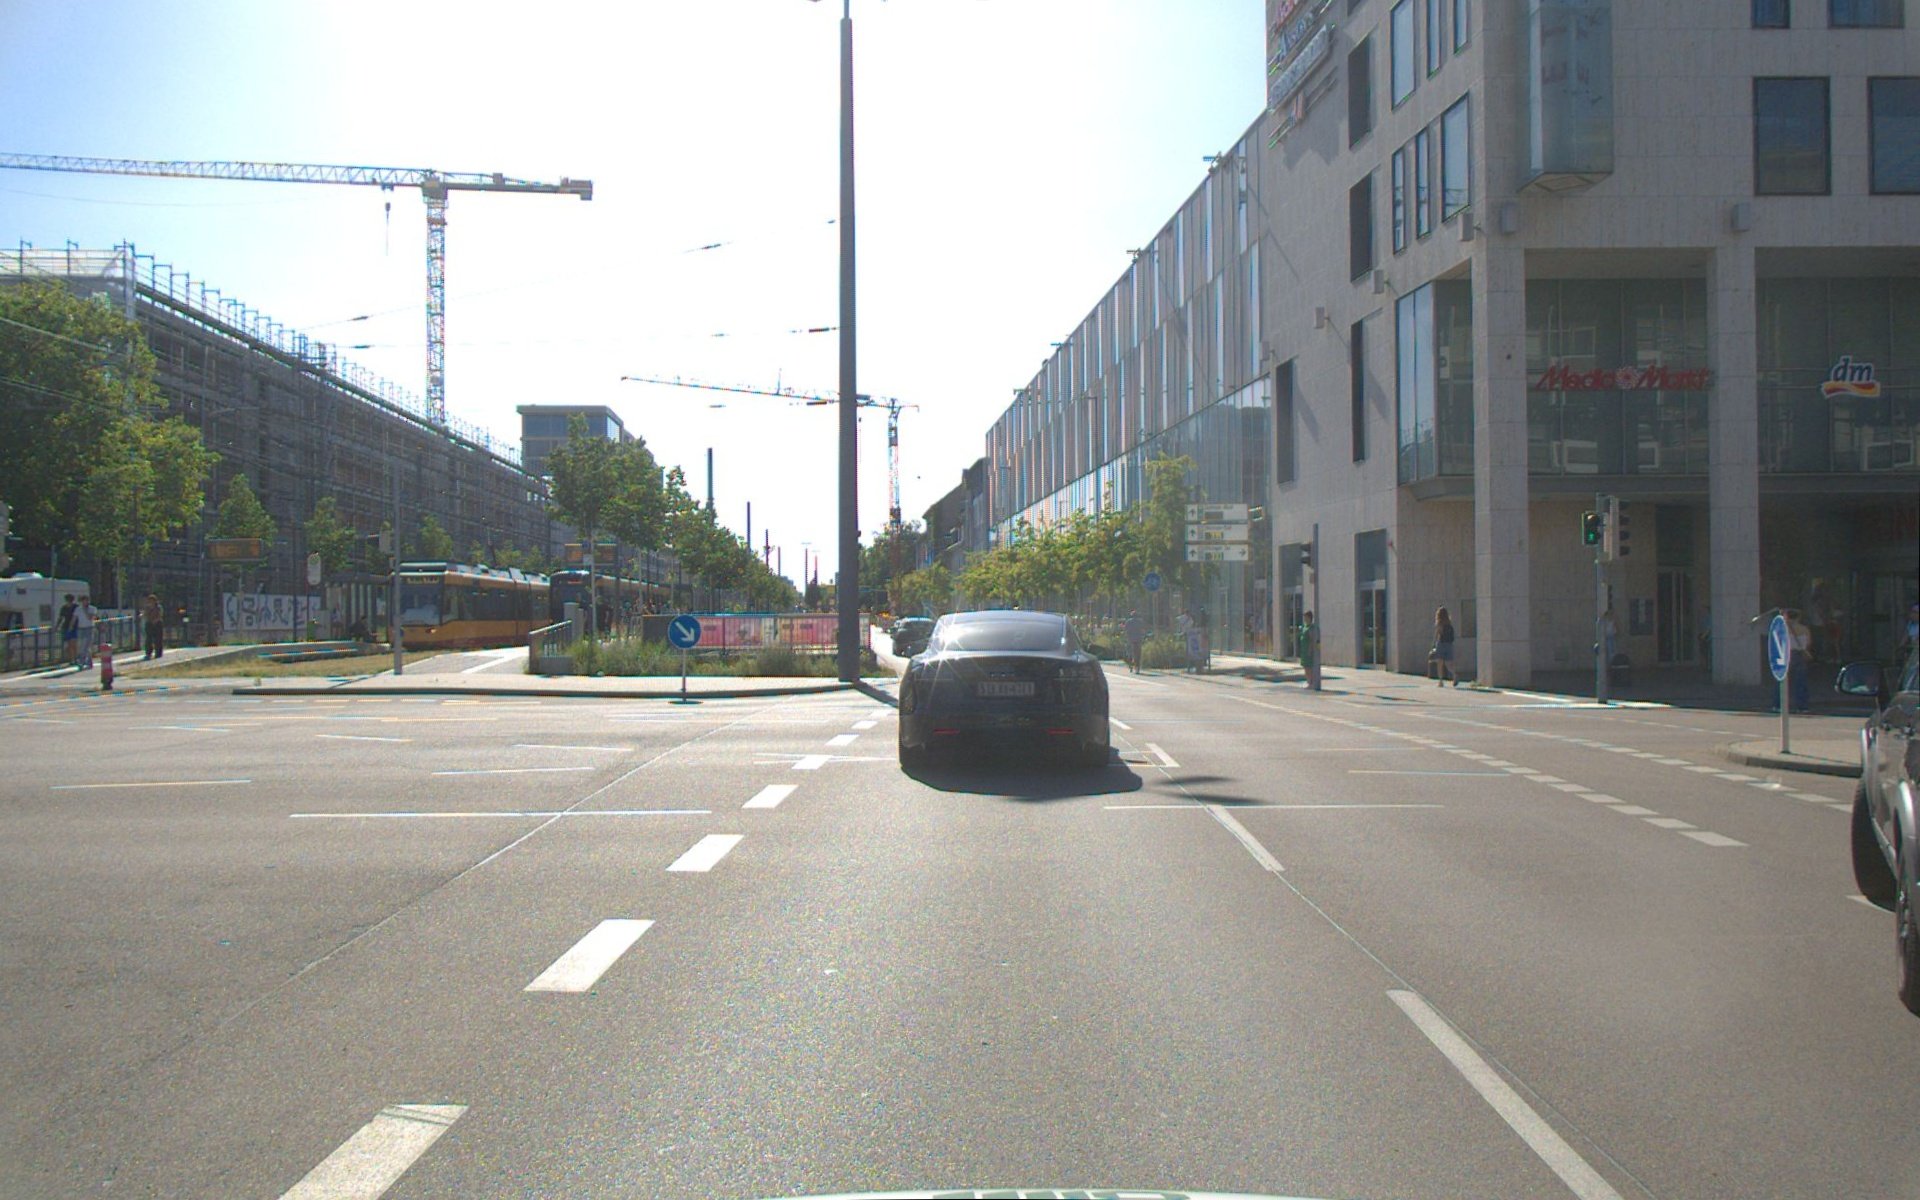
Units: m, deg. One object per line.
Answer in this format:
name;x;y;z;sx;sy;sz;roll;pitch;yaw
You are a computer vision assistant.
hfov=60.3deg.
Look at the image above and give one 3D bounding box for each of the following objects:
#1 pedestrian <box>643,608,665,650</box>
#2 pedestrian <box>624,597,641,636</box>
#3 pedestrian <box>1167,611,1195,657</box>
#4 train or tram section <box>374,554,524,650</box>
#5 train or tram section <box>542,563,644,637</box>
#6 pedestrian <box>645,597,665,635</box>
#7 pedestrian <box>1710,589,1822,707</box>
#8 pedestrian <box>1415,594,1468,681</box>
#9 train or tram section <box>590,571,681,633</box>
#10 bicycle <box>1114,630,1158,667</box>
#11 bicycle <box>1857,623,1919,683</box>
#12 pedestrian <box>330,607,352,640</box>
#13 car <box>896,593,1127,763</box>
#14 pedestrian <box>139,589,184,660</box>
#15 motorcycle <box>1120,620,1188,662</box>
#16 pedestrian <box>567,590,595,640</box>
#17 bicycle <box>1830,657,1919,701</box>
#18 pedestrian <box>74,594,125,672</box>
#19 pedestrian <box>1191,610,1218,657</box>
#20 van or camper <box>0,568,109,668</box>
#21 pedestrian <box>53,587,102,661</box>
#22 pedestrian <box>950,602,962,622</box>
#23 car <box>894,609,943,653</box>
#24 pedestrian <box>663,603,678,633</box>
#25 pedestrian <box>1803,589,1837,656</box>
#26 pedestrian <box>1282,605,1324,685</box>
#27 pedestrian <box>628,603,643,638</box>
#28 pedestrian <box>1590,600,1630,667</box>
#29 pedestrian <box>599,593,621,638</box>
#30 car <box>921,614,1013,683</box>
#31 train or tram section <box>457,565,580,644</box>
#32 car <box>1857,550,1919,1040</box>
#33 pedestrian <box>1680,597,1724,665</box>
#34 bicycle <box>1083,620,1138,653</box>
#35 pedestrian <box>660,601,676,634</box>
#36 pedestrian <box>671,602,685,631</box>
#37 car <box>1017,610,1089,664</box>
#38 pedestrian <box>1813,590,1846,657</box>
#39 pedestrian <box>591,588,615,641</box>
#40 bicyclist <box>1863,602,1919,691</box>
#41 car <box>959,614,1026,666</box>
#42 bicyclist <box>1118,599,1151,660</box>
pedestrian;-12.288;1.172;66.424;0.727;1.657;0.861;0;-1;-4
pedestrian;-15.829;0.785;79.930;0.658;1.842;1.073;-1;-1;-5
pedestrian;8.112;1.244;60.711;0.805;1.687;0.898;0;-1;-9
train or tram section;-20.027;0.134;65.807;2.814;3.368;13.060;1;-1;-4
train or tram section;-18.298;0.044;83.446;2.814;3.337;15.170;1;-1;-4
pedestrian;-15.220;0.782;82.662;0.869;1.883;1.006;0;-1;-5
pedestrian;13.207;0.771;27.140;0.948;1.833;1.521;-2;0;-4
pedestrian;10.430;0.804;35.861;0.713;1.833;1.065;-2;-1;-4
train or tram section;-19.702;0.206;102.029;2.814;3.337;22.121;1;-1;-4
bicycle;5.111;1.398;48.216;0.715;1.001;2.329;2;-1;-8
bicycle;18.722;1.015;31.968;1.044;1.113;2.990;0;0;-2
pedestrian;-23.927;0.910;63.974;0.658;1.248;0.505;1;-1;-7
car;0.362;0.695;16.493;1.959;1.459;4.410;0;0;-3
pedestrian;-21.219;0.650;43.967;0.784;1.855;0.975;0;0;-7
motorcycle;6.513;1.369;55.708;2.144;1.347;0.903;-1;-1;-1
pedestrian;-13.815;0.540;60.341;0.857;1.806;1.187;1;0;-7
bicycle;16.396;1.355;28.598;2.148;0.683;1.072;-1;0;-1
pedestrian;-20.840;0.789;40.080;0.784;1.855;0.975;0;0;-7
pedestrian;8.946;1.224;60.554;0.693;1.687;0.898;-2;0;-9
van or camper;-30.214;0.565;53.112;2.554;2.989;7.333;-1;0;-6
pedestrian;-22.347;0.595;41.909;0.784;1.855;0.975;0;0;-7
pedestrian;-0.414;1.196;161.894;1.074;1.896;1.521;0;0;-6
car;-1.621;1.164;64.194;1.850;1.624;3.999;0;0;-2
pedestrian;-16.064;1.009;91.874;0.727;1.657;0.861;0;-1;-4
pedestrian;23.096;0.600;44.435;0.552;1.793;0.641;-1;0;-40
pedestrian;7.600;0.989;36.662;0.644;1.732;0.697;-3;0;-6
pedestrian;-14.774;0.933;75.322;0.635;1.539;0.587;1;0;-7
pedestrian;16.220;0.835;41.277;0.733;1.636;0.556;-1;0;-6
pedestrian;-14.343;0.642;67.816;0.776;1.806;0.977;1;0;-7
car;0.100;0.978;34.905;1.682;1.343;3.997;0;0;-4
train or tram section;-21.116;0.245;80.265;2.792;3.379;15.950;1;0;-4
car;5.004;0.693;7.175;1.749;1.729;4.408;0;0;26
pedestrian;18.246;0.757;40.655;0.709;1.636;0.749;-1;0;-4
bicycle;5.853;1.417;64.539;2.042;1.226;0.950;-2;-1;2
pedestrian;-14.776;0.886;83.707;0.727;1.657;0.861;0;-1;-4
pedestrian;-16.206;0.976;95.058;0.727;1.657;0.861;0;-1;-4
car;2.761;1.082;50.070;1.749;1.573;4.036;0;0;-3
pedestrian;23.614;0.621;44.926;0.552;1.793;0.641;-1;0;-40
pedestrian;-12.413;0.483;57.450;0.689;1.806;0.958;1;0;-7
bicyclist;16.429;0.788;28.617;1.001;1.502;1.072;-1;-1;-1
car;0.920;1.150;49.192;1.682;1.457;3.997;0;0;-4
bicyclist;5.079;0.858;48.148;0.711;1.767;0.996;-1;-1;-8
